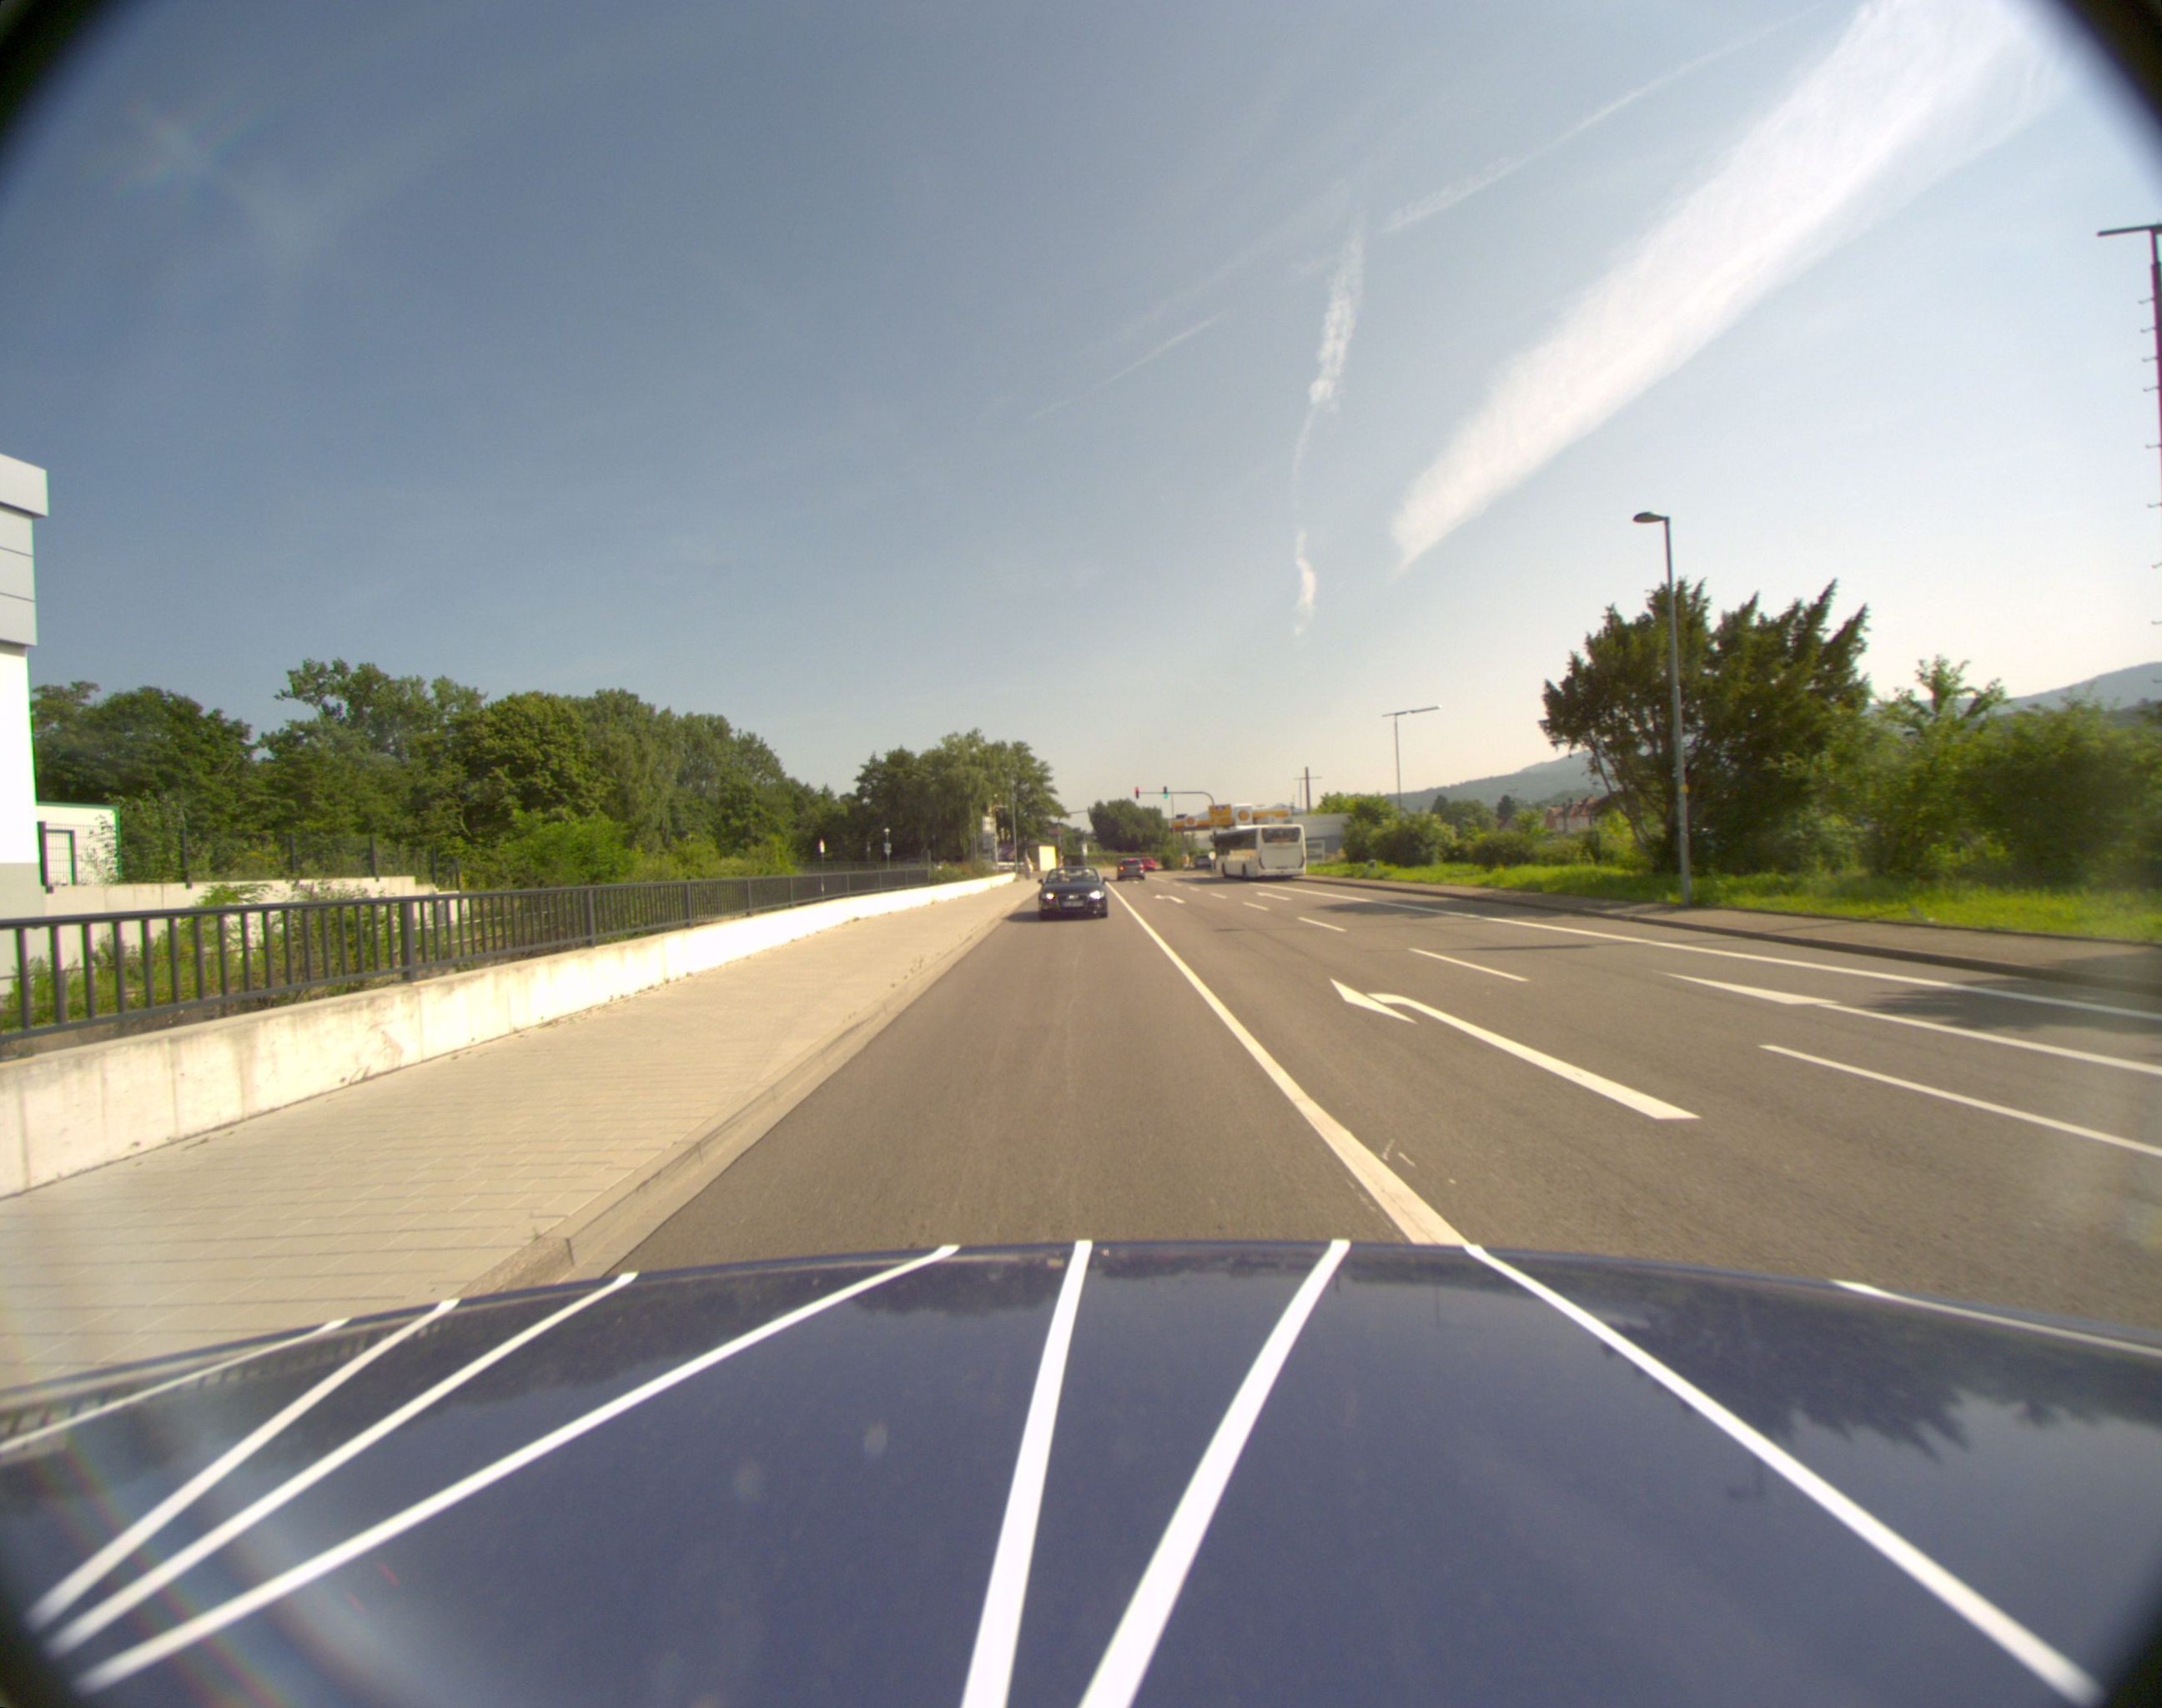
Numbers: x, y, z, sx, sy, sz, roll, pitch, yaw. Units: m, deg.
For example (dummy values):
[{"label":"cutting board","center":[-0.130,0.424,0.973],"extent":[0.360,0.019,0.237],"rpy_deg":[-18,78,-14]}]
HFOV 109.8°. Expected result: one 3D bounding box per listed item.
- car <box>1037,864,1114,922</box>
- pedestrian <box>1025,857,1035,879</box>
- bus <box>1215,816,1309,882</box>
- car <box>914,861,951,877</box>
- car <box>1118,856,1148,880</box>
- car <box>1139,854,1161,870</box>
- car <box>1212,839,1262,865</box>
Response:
[{"label":"car","center":[-0.071,1.000,20.904],"extent":[1.868,1.323,4.232],"rpy_deg":[-2,0,2]},{"label":"pedestrian","center":[-3.823,1.038,56.770],"extent":[0.712,1.661,0.593],"rpy_deg":[-2,1,-6]},{"label":"bus","center":[10.398,-0.281,45.159],"extent":[2.627,3.290,11.956],"rpy_deg":[-2,0,0]},{"label":"car","center":[-14.887,1.503,76.149],"extent":[1.671,1.509,4.072],"rpy_deg":[-1,1,-43]},{"label":"car","center":[3.424,0.880,50.658],"extent":[1.776,1.464,4.219],"rpy_deg":[-2,0,1]},{"label":"car","center":[7.063,0.807,78.556],"extent":[1.842,1.483,4.431],"rpy_deg":[-2,0,0]},{"label":"car","center":[12.964,-0.176,63.167],"extent":[3.784,1.785,1.703],"rpy_deg":[-6,0,6]}]
